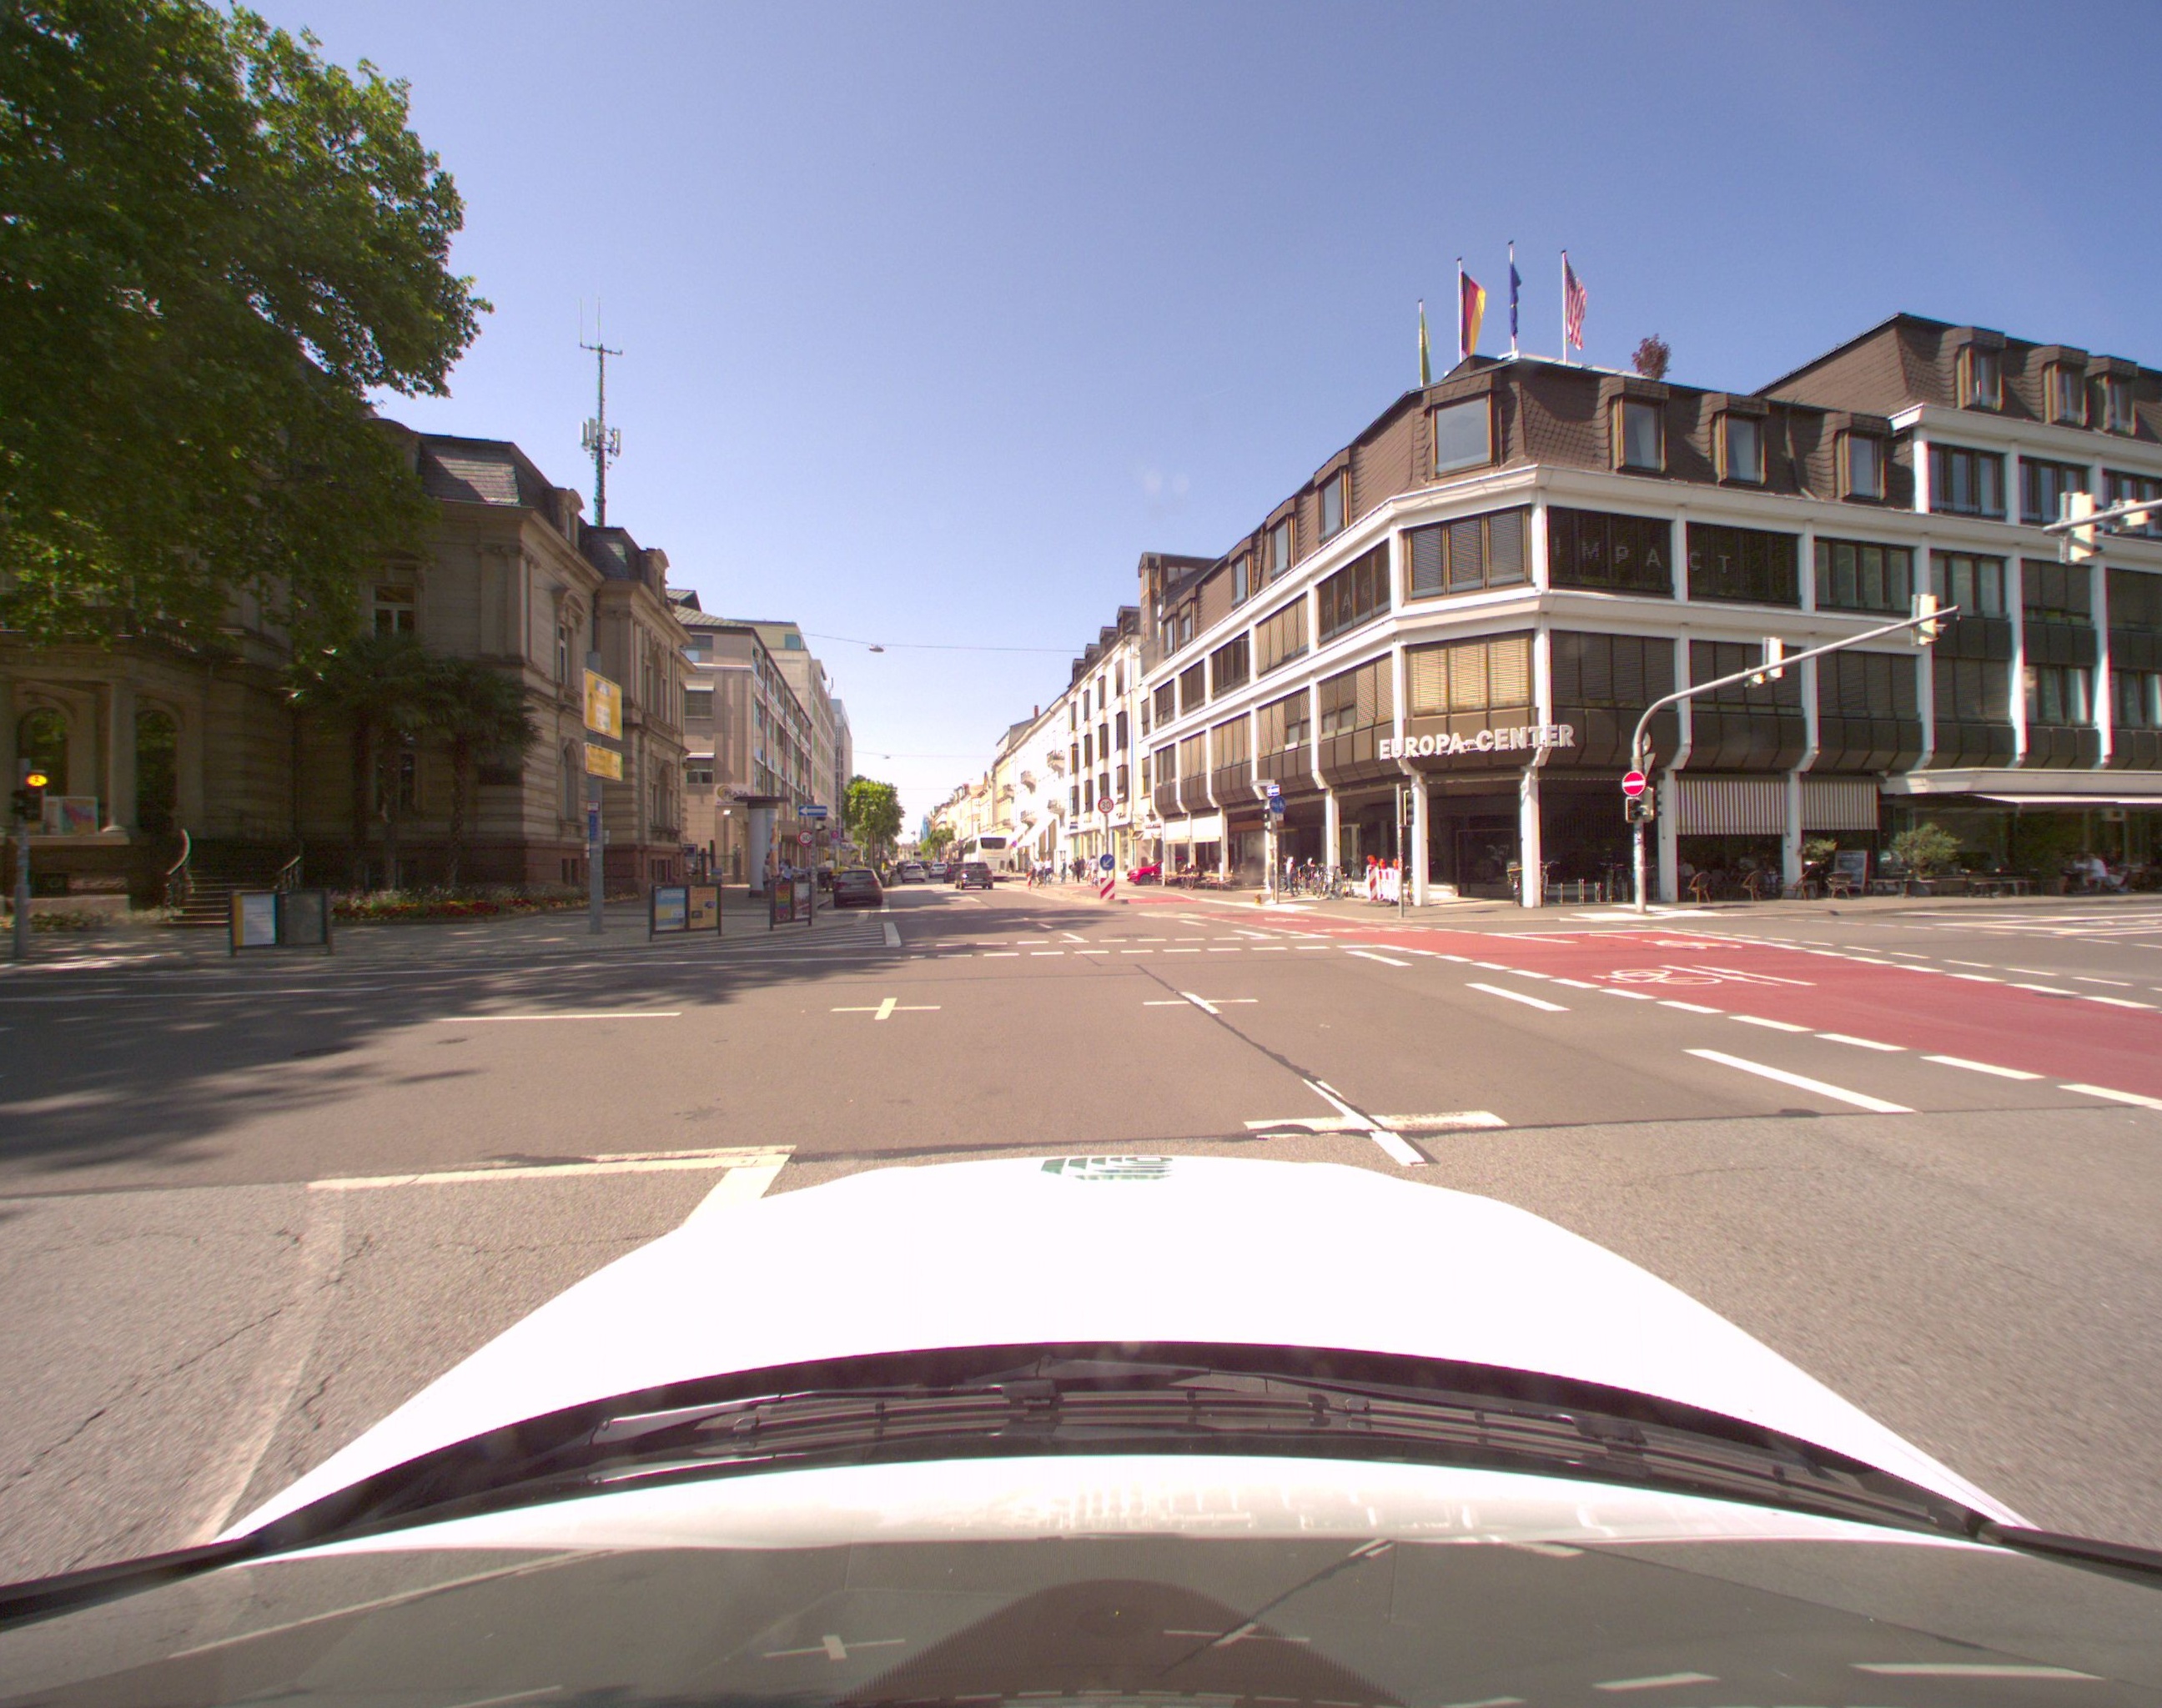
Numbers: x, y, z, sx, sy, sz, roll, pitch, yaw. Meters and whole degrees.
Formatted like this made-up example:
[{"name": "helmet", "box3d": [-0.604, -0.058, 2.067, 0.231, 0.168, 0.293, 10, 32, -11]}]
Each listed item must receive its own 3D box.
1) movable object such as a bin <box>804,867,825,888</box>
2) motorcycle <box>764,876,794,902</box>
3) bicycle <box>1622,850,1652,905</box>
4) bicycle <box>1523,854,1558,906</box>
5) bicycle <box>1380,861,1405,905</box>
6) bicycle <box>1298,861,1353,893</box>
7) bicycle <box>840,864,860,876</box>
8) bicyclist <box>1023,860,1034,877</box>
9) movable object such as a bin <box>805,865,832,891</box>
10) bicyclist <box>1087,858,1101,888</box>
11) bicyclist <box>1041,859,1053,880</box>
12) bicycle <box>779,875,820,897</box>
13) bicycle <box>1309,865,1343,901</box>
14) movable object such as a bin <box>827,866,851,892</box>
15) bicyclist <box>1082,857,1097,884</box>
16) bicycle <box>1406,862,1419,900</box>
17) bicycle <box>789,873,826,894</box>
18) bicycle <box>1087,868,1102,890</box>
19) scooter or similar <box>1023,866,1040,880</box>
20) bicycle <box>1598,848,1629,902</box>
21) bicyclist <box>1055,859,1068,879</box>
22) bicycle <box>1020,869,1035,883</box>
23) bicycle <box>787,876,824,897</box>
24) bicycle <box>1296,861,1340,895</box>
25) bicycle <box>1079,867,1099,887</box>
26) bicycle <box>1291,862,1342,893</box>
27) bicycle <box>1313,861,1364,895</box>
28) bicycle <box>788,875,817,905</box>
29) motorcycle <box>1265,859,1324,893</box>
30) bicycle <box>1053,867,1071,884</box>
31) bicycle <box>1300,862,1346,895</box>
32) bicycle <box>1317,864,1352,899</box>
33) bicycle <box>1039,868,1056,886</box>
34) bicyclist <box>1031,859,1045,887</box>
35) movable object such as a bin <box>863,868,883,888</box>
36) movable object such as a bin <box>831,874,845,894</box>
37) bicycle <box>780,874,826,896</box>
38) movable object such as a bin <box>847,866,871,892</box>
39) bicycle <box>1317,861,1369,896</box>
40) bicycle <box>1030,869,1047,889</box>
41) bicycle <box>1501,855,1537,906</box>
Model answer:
[{"name": "movable object such as a bin", "box3d": [-17.309, 1.534, 52.900, 1.210, 1.299, 1.122, 1, 0, -13]}, {"name": "motorcycle", "box3d": [-11.896, 1.354, 32.127, 0.452, 0.998, 2.157, 1, -1, -3]}, {"name": "bicycle", "box3d": [15.411, 0.613, 22.546, 0.524, 1.422, 1.980, -2, 0, 38]}, {"name": "bicycle", "box3d": [12.618, 0.682, 22.334, 0.524, 1.316, 1.871, -2, 0, 38]}, {"name": "bicycle", "box3d": [9.612, 0.872, 25.112, 0.372, 1.064, 1.482, -3, 9, 33]}, {"name": "bicycle", "box3d": [9.118, 0.855, 30.344, 2.244, 1.120, 0.276, -1, -1, -21]}, {"name": "bicycle", "box3d": [-25.412, 1.724, 89.604, 2.072, 1.288, 0.365, 2, -2, -21]}, {"name": "bicyclist", "box3d": [-4.209, 1.164, 65.258, 0.788, 1.379, 0.719, 0, -1, -15]}, {"name": "movable object such as a bin", "box3d": [-15.150, 1.388, 47.025, 1.208, 1.451, 1.360, 1, 0, -7]}, {"name": "bicyclist", "box3d": [0.695, 1.028, 44.592, 0.692, 1.625, 0.835, -2, -1, -2]}, {"name": "bicyclist", "box3d": [-2.191, 0.994, 52.841, 0.621, 1.371, 0.776, 0, -1, -15]}, {"name": "bicycle", "box3d": [-14.447, 1.632, 41.804, 1.969, 1.120, 0.552, 1, -2, -25]}, {"name": "bicycle", "box3d": [8.194, 0.955, 27.322, 0.276, 1.120, 2.239, -1, 0, -5]}, {"name": "movable object such as a bin", "box3d": [-13.981, 1.455, 47.064, 1.123, 1.451, 1.435, 1, 0, -7]}, {"name": "bicyclist", "box3d": [0.502, 0.965, 47.686, 0.621, 1.529, 0.865, 0, -1, -15]}, {"name": "bicycle", "box3d": [9.941, 0.802, 24.432, 0.305, 1.065, 1.479, -2, 0, 22]}, {"name": "bicycle", "box3d": [-15.420, 1.656, 45.903, 1.972, 1.120, 0.506, 0, -2, -17]}, {"name": "bicycle", "box3d": [0.720, 1.351, 44.668, 0.593, 1.120, 1.797, -1, 0, -5]}, {"name": "scooter or similar", "box3d": [-3.871, 1.509, 63.964, 1.123, 1.102, 1.080, -1, -1, -15]}, {"name": "bicycle", "box3d": [15.173, 0.570, 23.195, 0.524, 1.422, 1.980, -2, 0, 38]}, {"name": "bicyclist", "box3d": [-1.299, 1.007, 54.003, 0.621, 1.296, 0.862, 0, -1, -15]}, {"name": "bicycle", "box3d": [-4.341, 1.729, 65.747, 0.839, 1.099, 2.341, 0, -1, -14]}, {"name": "bicycle", "box3d": [-15.068, 1.778, 44.589, 1.848, 1.073, 0.553, -2, -3, -17]}, {"name": "bicycle", "box3d": [8.581, 0.872, 29.531, 1.544, 1.207, 0.277, -1, -1, -7]}, {"name": "bicycle", "box3d": [0.461, 1.346, 47.862, 0.621, 1.099, 2.341, 0, -1, -14]}, {"name": "bicycle", "box3d": [8.948, 0.885, 30.936, 2.248, 1.097, 0.275, -1, -1, -27]}, {"name": "bicycle", "box3d": [9.076, 0.836, 28.733, 1.715, 1.120, 0.277, -2, 0, -7]}, {"name": "bicycle", "box3d": [-10.912, 1.412, 31.962, 0.428, 1.121, 2.241, 1, -2, -2]}, {"name": "motorcycle", "box3d": [8.600, 0.882, 32.775, 2.219, 1.290, 0.952, -2, -2, 15]}, {"name": "bicycle", "box3d": [-1.261, 1.427, 53.868, 0.621, 1.099, 2.341, 0, -1, -14]}, {"name": "bicycle", "box3d": [8.657, 0.864, 29.172, 1.569, 1.120, 0.277, -2, 0, -7]}, {"name": "bicycle", "box3d": [8.531, 0.906, 27.448, 0.276, 1.120, 2.239, -1, 0, -5]}, {"name": "bicycle", "box3d": [-2.168, 1.471, 52.705, 0.621, 1.099, 2.341, 0, -1, -14]}, {"name": "bicyclist", "box3d": [-2.610, 1.138, 49.072, 0.695, 1.673, 0.912, 1, 0, -12]}, {"name": "movable object such as a bin", "box3d": [-13.768, 1.597, 53.886, 1.278, 1.299, 0.849, -1, -1, -13]}, {"name": "movable object such as a bin", "box3d": [-13.606, 1.655, 45.596, 0.725, 1.098, 0.652, 1, 0, -21]}, {"name": "bicycle", "box3d": [-14.483, 1.644, 42.467, 2.246, 1.120, 0.552, 1, -2, -25]}, {"name": "movable object such as a bin", "box3d": [-12.864, 1.454, 47.224, 1.123, 1.451, 1.435, 1, 0, -7]}, {"name": "bicycle", "box3d": [9.122, 0.844, 28.340, 1.715, 1.120, 0.277, -2, 0, -7]}, {"name": "bicycle", "box3d": [-2.597, 1.498, 49.159, 0.665, 1.120, 2.233, 1, 0, -13]}, {"name": "bicycle", "box3d": [12.173, 0.705, 22.608, 0.524, 1.316, 1.980, -2, 0, 38]}]
